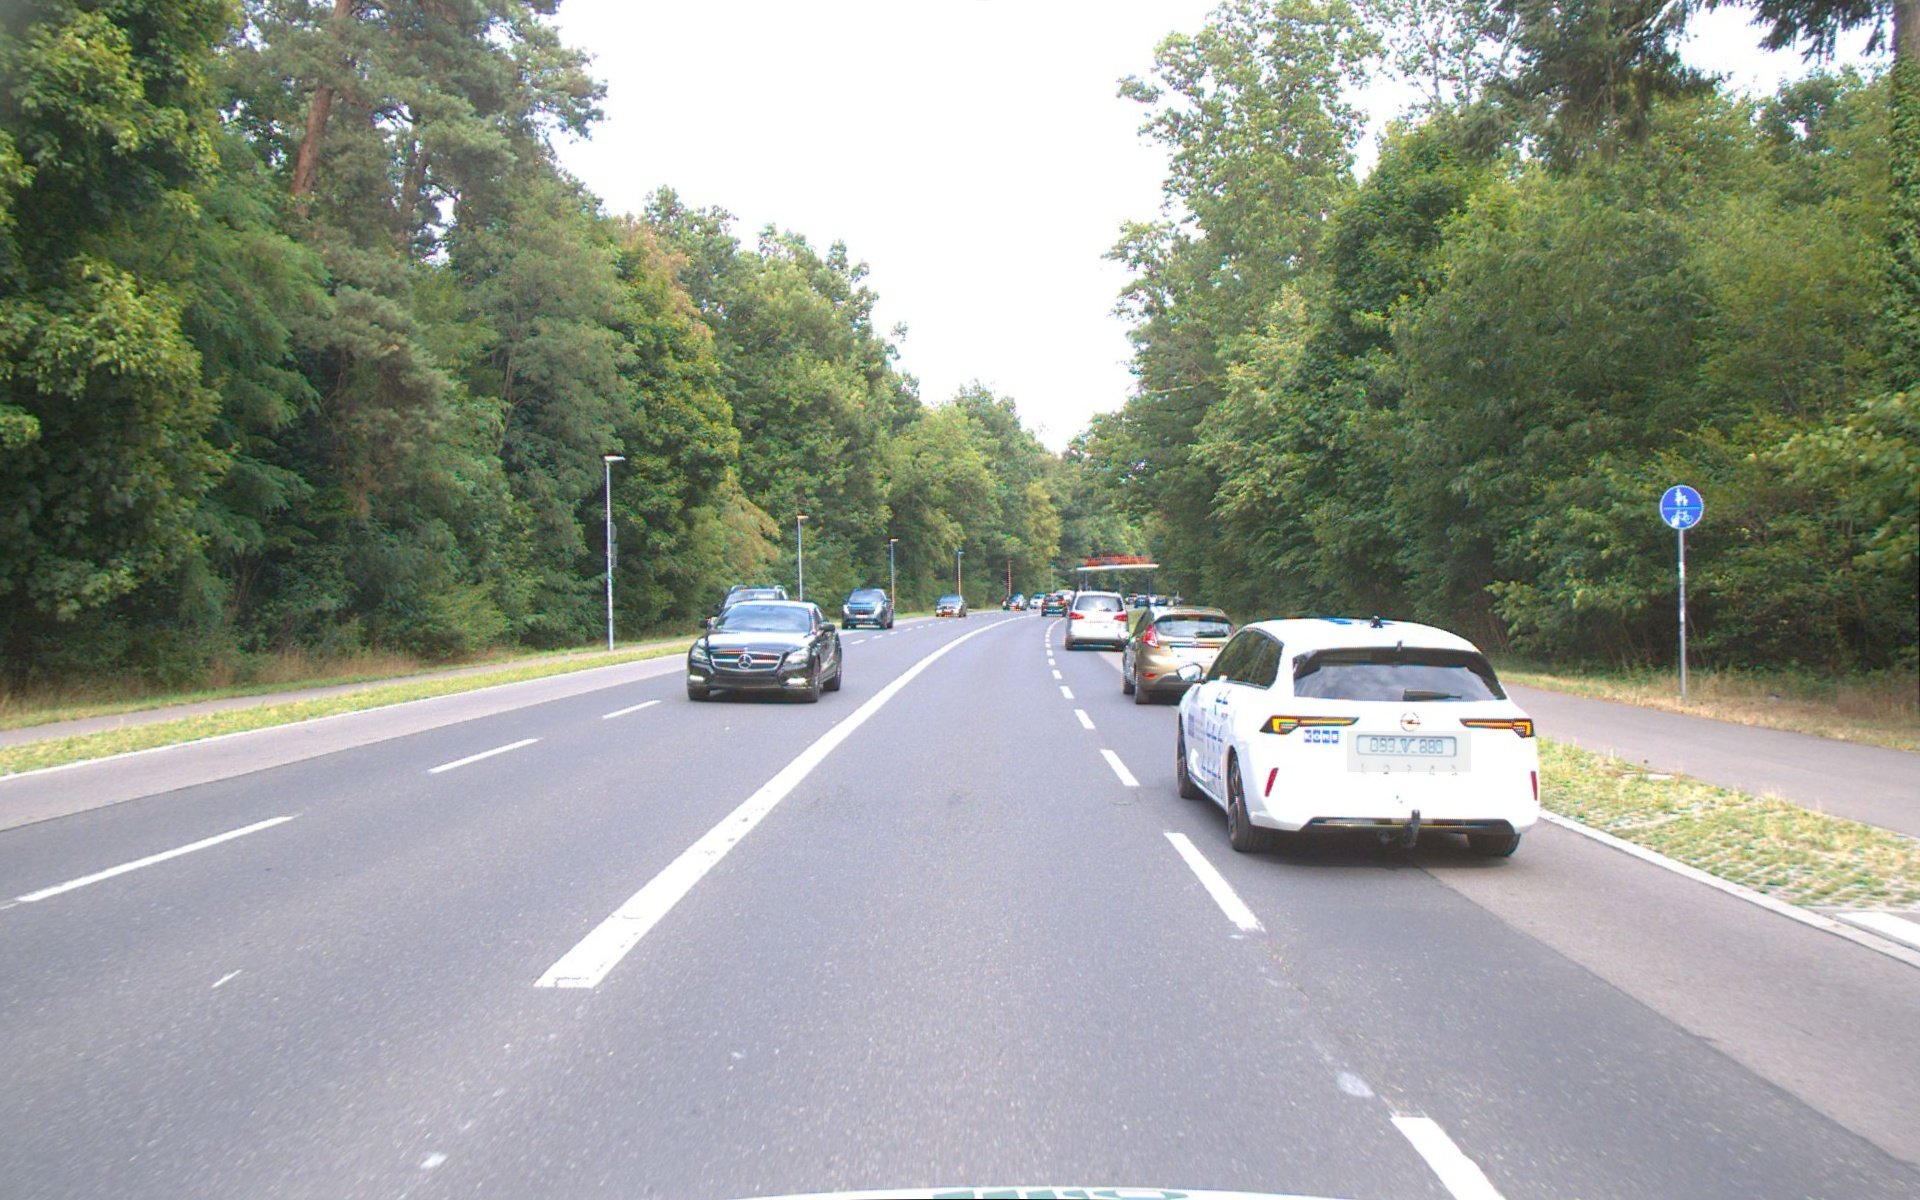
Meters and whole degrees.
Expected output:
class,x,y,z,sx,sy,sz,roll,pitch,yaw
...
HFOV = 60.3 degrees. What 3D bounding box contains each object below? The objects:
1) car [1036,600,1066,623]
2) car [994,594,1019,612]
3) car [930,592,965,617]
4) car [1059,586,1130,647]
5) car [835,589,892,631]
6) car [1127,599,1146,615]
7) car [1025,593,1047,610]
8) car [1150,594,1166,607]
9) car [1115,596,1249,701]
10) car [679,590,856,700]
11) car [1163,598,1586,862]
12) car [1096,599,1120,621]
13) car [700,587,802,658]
class,x,y,z,sx,sy,sz,roll,pitch,yaw
car,6.650,0.846,120.587,1.693,1.615,4.003,2,-1,9
car,4.316,0.299,152.406,1.841,1.468,4.406,2,-1,7
car,-0.804,0.332,109.850,1.856,1.509,4.541,2,-1,6
car,3.948,0.501,48.985,1.952,1.635,4.001,2,-1,4
car,-4.069,0.442,70.255,1.952,1.645,4.664,2,-1,2
car,21.549,0.808,201.788,1.951,1.814,4.003,2,-1,10
car,7.930,0.191,172.910,1.951,1.590,4.607,2,-1,7
car,27.899,0.093,232.740,1.951,1.736,4.003,0,0,10
car,3.375,0.729,25.794,1.601,1.445,4.000,2,-1,1
car,-2.773,0.646,24.882,1.952,1.460,4.721,1,-1,1
car,2.597,0.726,11.511,1.799,1.434,4.490,1,0,0
car,13.584,0.921,151.544,1.951,1.814,4.003,2,-1,7
car,-5.272,0.575,42.239,1.883,1.684,4.470,1,-1,1
